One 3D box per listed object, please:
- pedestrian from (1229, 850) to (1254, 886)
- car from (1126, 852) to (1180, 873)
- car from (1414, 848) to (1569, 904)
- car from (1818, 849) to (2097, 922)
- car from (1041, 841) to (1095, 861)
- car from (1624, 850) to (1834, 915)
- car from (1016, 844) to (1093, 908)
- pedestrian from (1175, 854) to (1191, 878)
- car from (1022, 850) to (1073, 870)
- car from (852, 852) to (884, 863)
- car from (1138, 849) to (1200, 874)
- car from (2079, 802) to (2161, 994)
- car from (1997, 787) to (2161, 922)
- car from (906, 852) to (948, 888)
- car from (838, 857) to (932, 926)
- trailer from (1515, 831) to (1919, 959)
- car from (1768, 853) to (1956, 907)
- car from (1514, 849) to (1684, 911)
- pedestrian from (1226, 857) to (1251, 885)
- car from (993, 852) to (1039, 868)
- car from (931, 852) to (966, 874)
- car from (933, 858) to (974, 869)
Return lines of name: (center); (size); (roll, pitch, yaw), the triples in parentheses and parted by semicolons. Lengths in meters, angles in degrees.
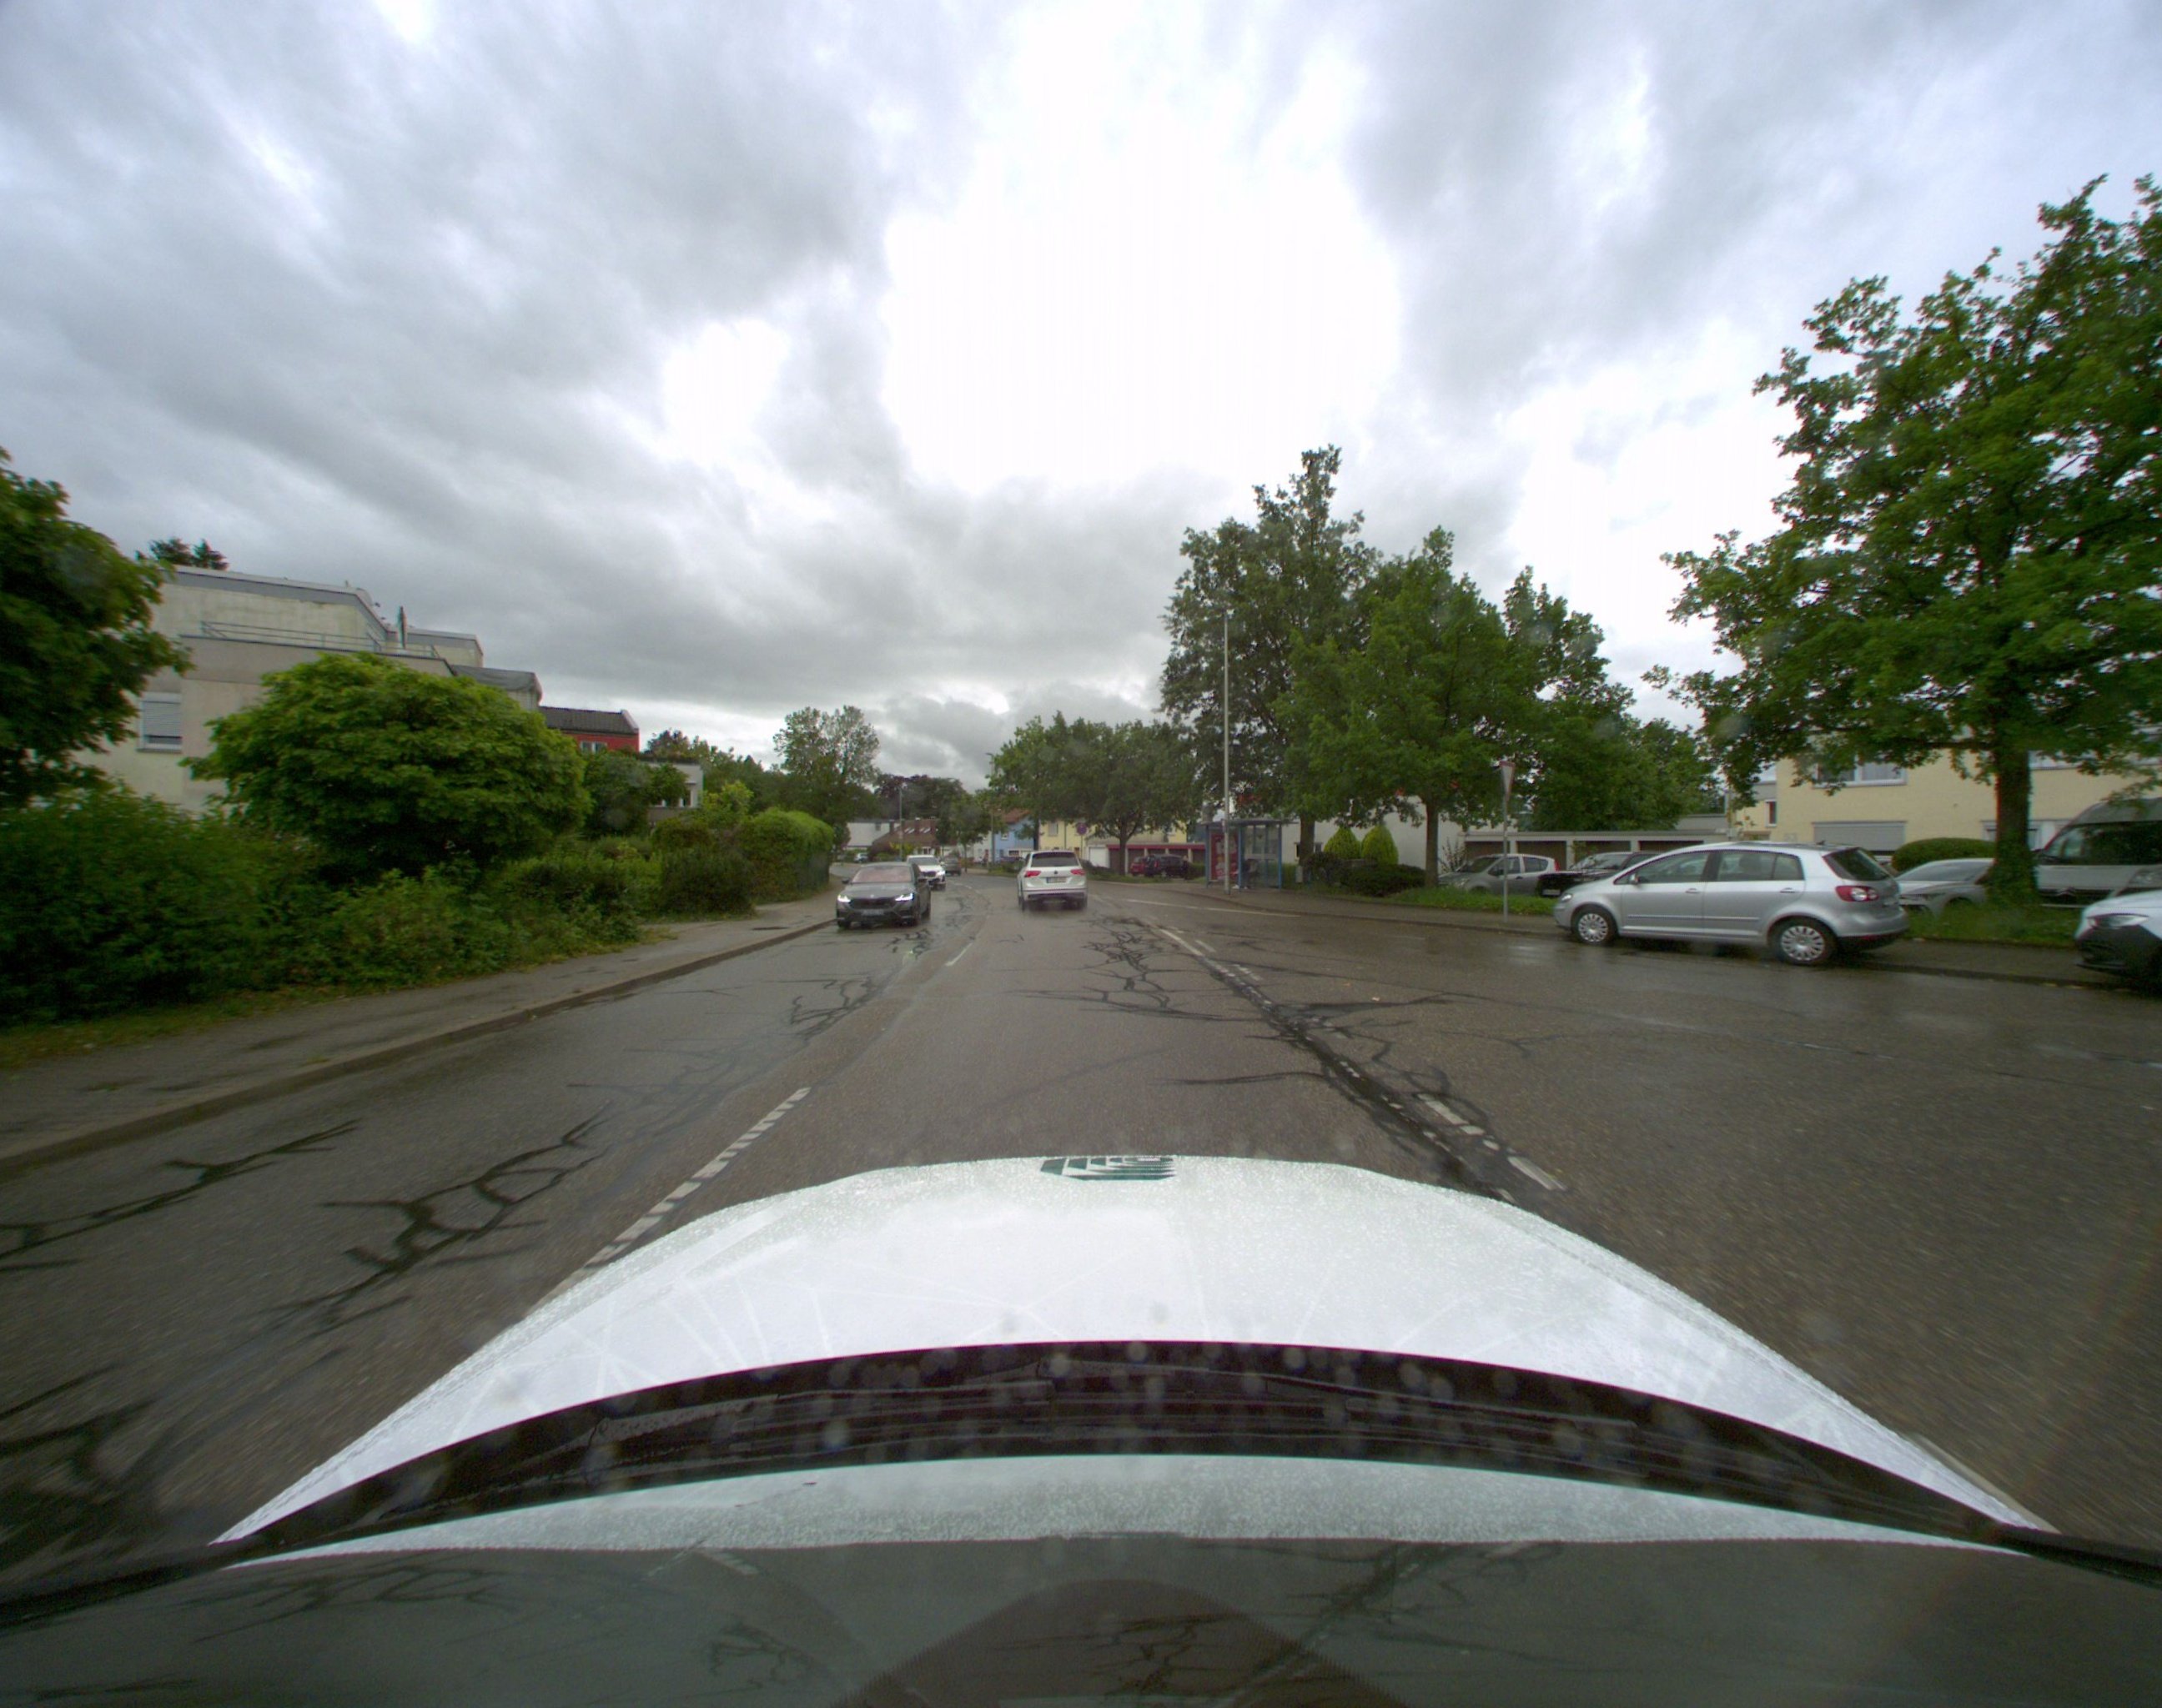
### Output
pedestrian: (5.661, 0.480, 28.658); (0.726, 1.250, 0.550); (0, 0, -7)
car: (5.312, 0.604, 59.727); (3.719, 1.442, 1.689); (-1, 0, -35)
car: (11.648, 0.595, 23.213); (3.645, 1.486, 1.754); (0, 0, -9)
car: (17.246, 0.574, 16.116); (3.985, 1.296, 1.846); (-1, 0, -9)
car: (-1.084, -0.259, 69.209); (4.208, 1.671, 1.971); (-1, 0, -32)
car: (14.700, 0.602, 18.521); (4.037, 1.337, 1.725); (0, 0, -16)
car: (-0.871, 0.567, 23.691); (1.863, 1.650, 3.990); (-1, 0, -7)
pedestrian: (6.546, 0.756, 52.254); (0.669, 1.558, 0.833); (0, 0, -38)
car: (-2.906, 0.520, 71.417); (4.214, 1.672, 1.701); (2, -1, -40)
car: (-30.085, 0.510, 115.117); (4.016, 1.442, 1.827); (-1, 0, -35)
car: (6.170, 0.508, 57.026); (4.016, 1.721, 1.904); (-1, 0, -35)
car: (12.198, 0.421, 7.079); (2.005, 1.881, 4.174); (-1, 0, -29)
car: (18.812, -0.053, 13.505); (5.818, 2.013, 1.994); (-1, 0, -9)
car: (-7.556, 0.734, 39.687); (1.892, 1.611, 4.845); (0, 0, -12)
car: (-4.593, 0.811, 19.613); (1.739, 1.414, 4.132); (-1, 0, -7)
trailer: (9.246, 0.488, 12.259); (2.007, 1.543, 4.381); (-1, 0, -32)
car: (23.450, 0.718, 24.598); (1.698, 1.510, 3.788); (0, 0, -31)
car: (13.438, 0.627, 21.189); (3.652, 1.486, 1.751); (0, 0, -16)
pedestrian: (5.700, 0.616, 29.434); (0.748, 1.011, 0.550); (0, 0, -7)
car: (-6.120, 0.564, 77.039); (4.017, 1.387, 1.656); (-1, 0, -36)
car: (-9.790, 0.624, 59.849); (1.775, 1.551, 3.972); (-1, 0, -21)
car: (-14.174, 1.058, 90.878); (4.341, 1.260, 1.659); (1, 0, -43)
